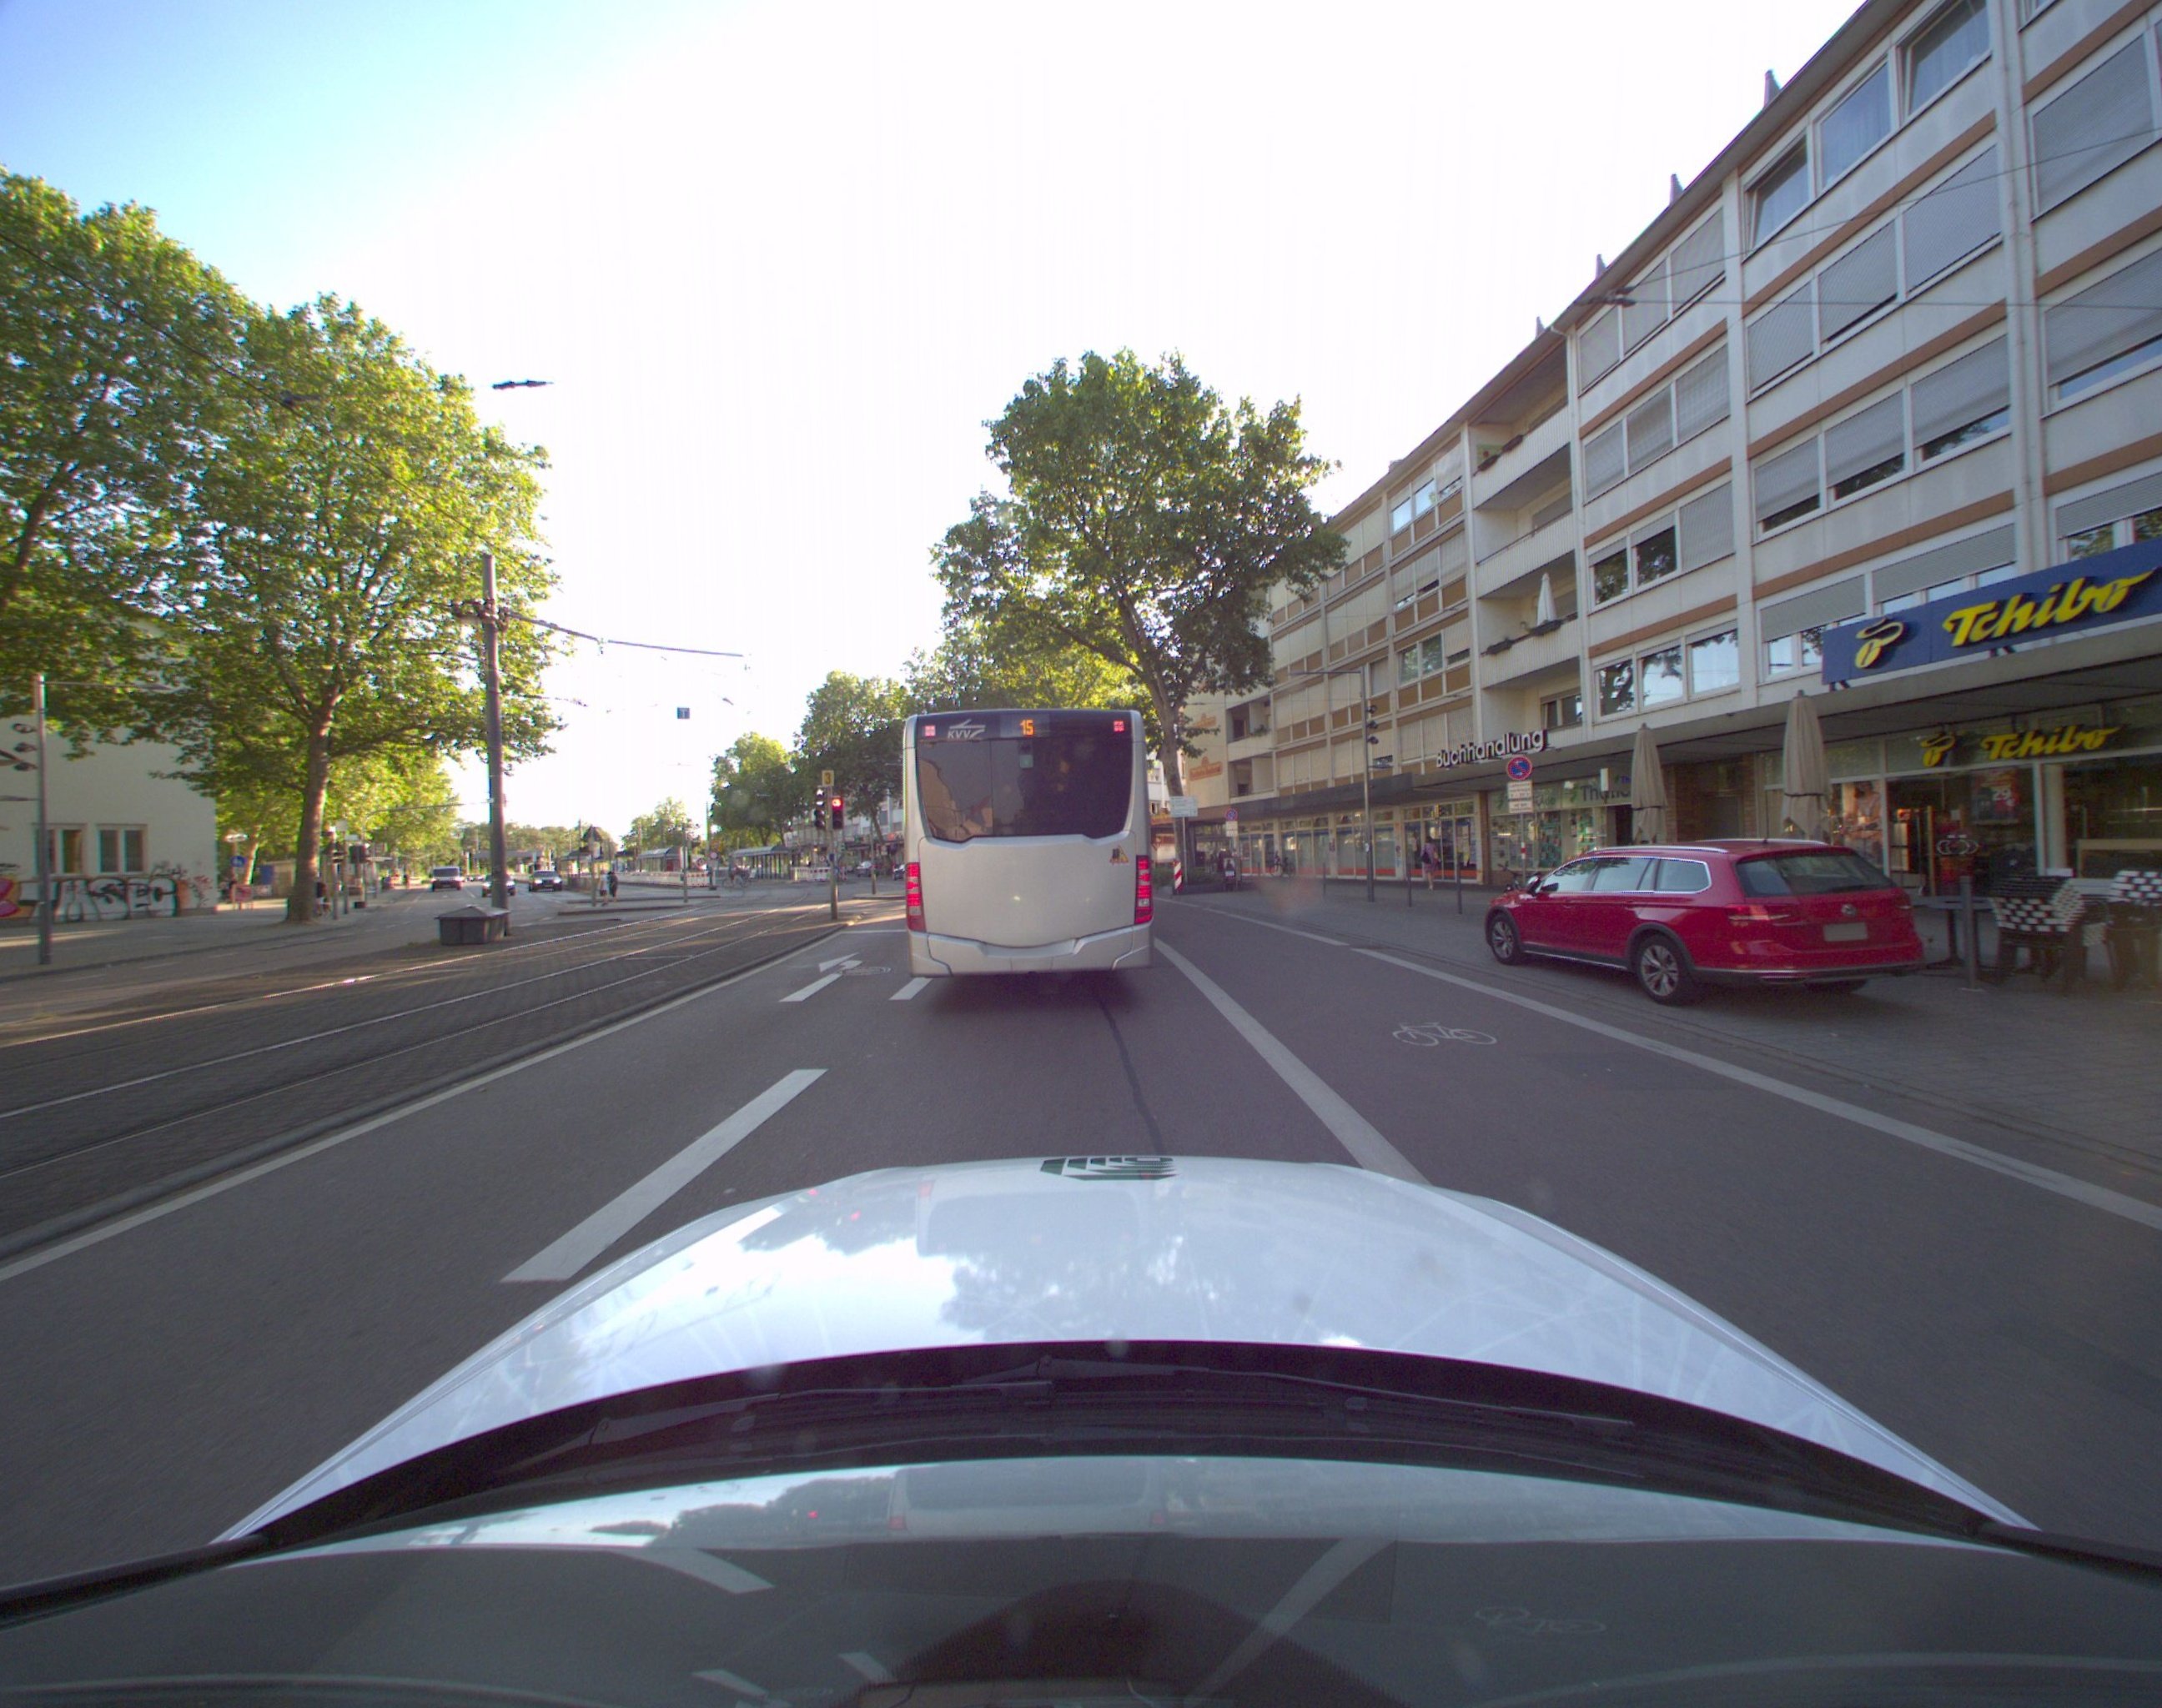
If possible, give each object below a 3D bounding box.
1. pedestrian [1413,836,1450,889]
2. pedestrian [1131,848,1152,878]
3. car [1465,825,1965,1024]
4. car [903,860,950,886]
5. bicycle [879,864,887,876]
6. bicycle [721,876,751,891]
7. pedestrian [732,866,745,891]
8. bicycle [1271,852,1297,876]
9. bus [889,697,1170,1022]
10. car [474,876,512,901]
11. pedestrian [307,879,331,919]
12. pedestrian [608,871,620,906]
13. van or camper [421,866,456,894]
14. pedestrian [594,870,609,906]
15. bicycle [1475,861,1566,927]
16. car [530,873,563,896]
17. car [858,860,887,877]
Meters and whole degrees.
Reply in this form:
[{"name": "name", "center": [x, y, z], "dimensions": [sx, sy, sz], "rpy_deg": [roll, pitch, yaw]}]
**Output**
[{"name": "pedestrian", "center": [10.532, 0.250, 24.478], "dimensions": [0.640, 1.552, 0.804], "rpy_deg": [-2, 0, -12]}, {"name": "pedestrian", "center": [3.567, 0.524, 47.948], "dimensions": [0.838, 1.712, 0.787], "rpy_deg": [-4, 1, -22]}, {"name": "car", "center": [6.267, 0.571, 8.932], "dimensions": [1.774, 1.496, 4.564], "rpy_deg": [-4, 0, -2]}, {"name": "car", "center": [-9.644, 1.159, 50.581], "dimensions": [1.766, 1.464, 3.964], "rpy_deg": [-2, 0, -27]}, {"name": "bicycle", "center": [-19.177, 1.542, 78.800], "dimensions": [0.508, 1.211, 2.079], "rpy_deg": [-2, 0, -18]}, {"name": "bicycle", "center": [-24.449, 2.097, 57.687], "dimensions": [1.856, 0.942, 0.458], "rpy_deg": [-2, 0, -39]}, {"name": "pedestrian", "center": [-24.124, 1.691, 57.369], "dimensions": [0.726, 1.725, 0.395], "rpy_deg": [-2, 0, -38]}, {"name": "bicycle", "center": [9.533, 0.473, 38.327], "dimensions": [0.438, 1.092, 1.453], "rpy_deg": [-4, 1, -17]}, {"name": "bus", "center": [-0.690, 0.073, 13.091], "dimensions": [2.651, 3.098, 10.206], "rpy_deg": [-2, 0, -2]}, {"name": "car", "center": [-39.040, 2.274, 54.140], "dimensions": [1.900, 1.472, 4.162], "rpy_deg": [-2, 0, -34]}, {"name": "pedestrian", "center": [-33.006, 1.930, 35.280], "dimensions": [0.426, 1.710, 0.681], "rpy_deg": [-1, -1, 34]}, {"name": "pedestrian", "center": [-20.246, 1.480, 35.310], "dimensions": [0.411, 1.504, 0.512], "rpy_deg": [-2, 0, -32]}, {"name": "van or camper", "center": [-58.741, 2.341, 74.504], "dimensions": [2.184, 2.319, 5.047], "rpy_deg": [-4, 1, -36]}, {"name": "pedestrian", "center": [-20.428, 1.454, 34.692], "dimensions": [0.523, 1.504, 0.587], "rpy_deg": [-2, 0, -32]}, {"name": "bicycle", "center": [7.803, 0.684, 14.534], "dimensions": [0.510, 1.070, 1.657], "rpy_deg": [-4, 0, -7]}, {"name": "car", "center": [-40.832, 2.296, 62.205], "dimensions": [1.900, 1.585, 4.160], "rpy_deg": [-2, 0, -36]}, {"name": "car", "center": [-20.980, 1.462, 81.963], "dimensions": [1.675, 1.468, 3.375], "rpy_deg": [-6, 2, -35]}]
